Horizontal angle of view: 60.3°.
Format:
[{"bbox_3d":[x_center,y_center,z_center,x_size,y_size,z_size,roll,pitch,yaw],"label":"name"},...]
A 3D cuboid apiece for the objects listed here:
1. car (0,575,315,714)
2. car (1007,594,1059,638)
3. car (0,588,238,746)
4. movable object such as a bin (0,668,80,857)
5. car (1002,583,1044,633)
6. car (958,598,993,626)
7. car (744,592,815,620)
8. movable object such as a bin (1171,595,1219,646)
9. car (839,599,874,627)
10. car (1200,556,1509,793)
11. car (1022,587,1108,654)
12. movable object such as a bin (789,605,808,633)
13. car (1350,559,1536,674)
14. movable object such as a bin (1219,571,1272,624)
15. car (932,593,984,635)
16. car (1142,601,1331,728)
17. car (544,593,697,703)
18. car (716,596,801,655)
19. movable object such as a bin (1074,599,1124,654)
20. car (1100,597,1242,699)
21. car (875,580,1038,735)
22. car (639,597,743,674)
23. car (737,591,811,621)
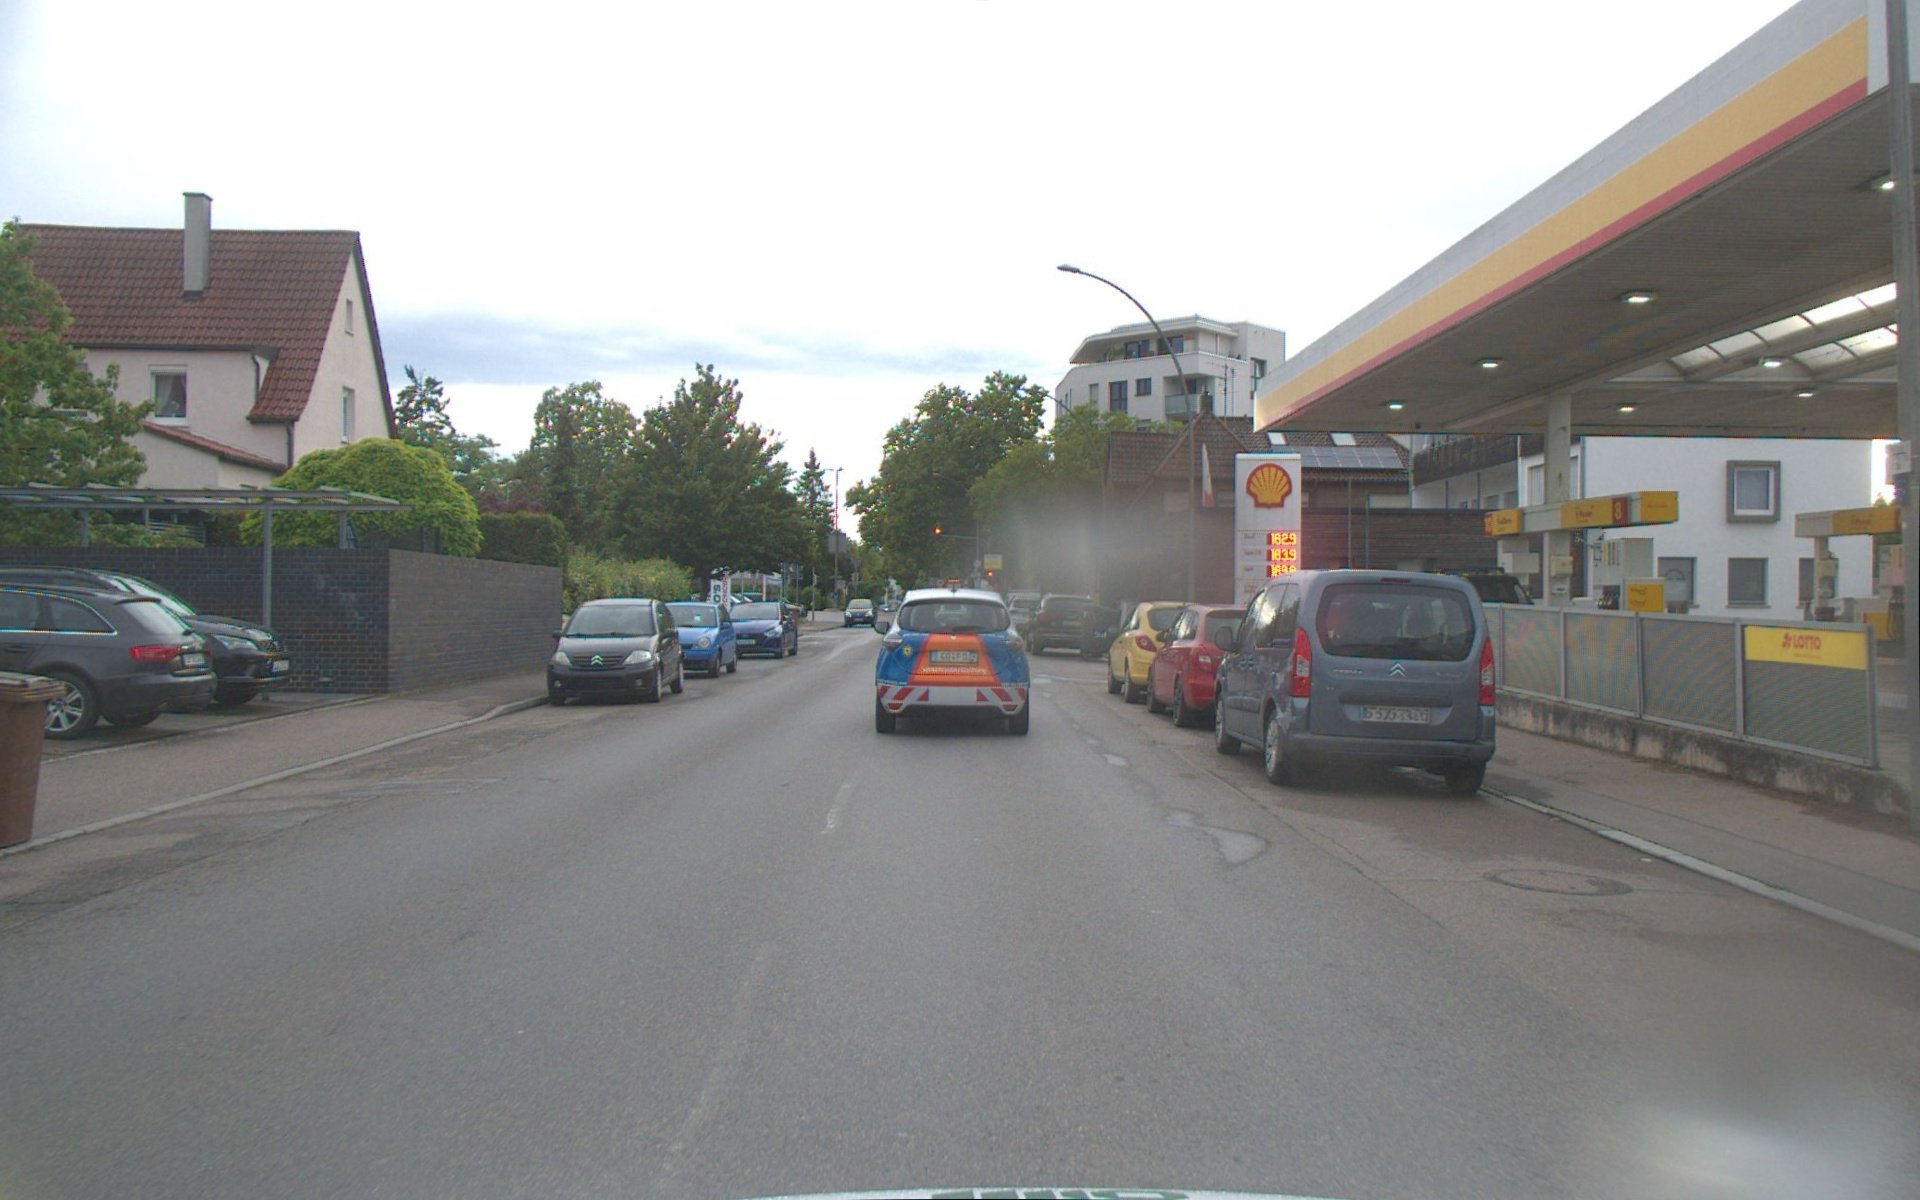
[{"bbox_3d":[-9.746,0.503,19.599,3.516,1.482,1.755,2,0,-6],"label":"car"},{"bbox_3d":[2.968,0.634,67.929,1.828,1.694,4.319,1,0,-1],"label":"car"},{"bbox_3d":[-9.567,0.615,16.435,4.003,1.438,1.713,1,0,-4],"label":"car"},{"bbox_3d":[-6.140,1.018,10.583,0.584,1.075,0.687,5,2,-1],"label":"movable object such as a bin"},{"bbox_3d":[2.806,0.310,74.054,1.741,2.064,4.755,2,1,2],"label":"car"},{"bbox_3d":[0.896,0.684,96.933,1.759,1.453,3.997,2,1,-4],"label":"car"},{"bbox_3d":[-10.532,0.340,96.725,3.904,1.466,1.804,1,0,2],"label":"car"},{"bbox_3d":[6.454,0.559,45.574,1.080,1.363,1.384,0,0,-3],"label":"movable object such as a bin"},{"bbox_3d":[-5.588,0.685,89.965,1.593,1.458,3.684,0,0,1],"label":"car"},{"bbox_3d":[3.396,0.572,15.097,1.622,1.768,4.443,3,0,-1],"label":"car"},{"bbox_3d":[2.906,0.536,46.770,2.048,1.691,4.559,2,1,-1],"label":"car"},{"bbox_3d":[-6.720,0.788,68.877,0.693,1.149,0.735,1,0,0],"label":"movable object such as a bin"},{"bbox_3d":[8.008,0.245,27.792,1.783,1.790,3.997,0,0,-3],"label":"car"},{"bbox_3d":[7.497,-0.076,43.479,1.080,1.363,1.384,0,0,-3],"label":"movable object such as a bin"},{"bbox_3d":[-0.045,0.576,70.145,1.952,1.601,4.002,2,1,3],"label":"car"},{"bbox_3d":[3.355,0.736,20.746,1.622,1.400,4.024,1,0,-1],"label":"car"},{"bbox_3d":[-5.121,0.672,25.346,1.576,1.532,3.707,-1,0,-1],"label":"car"},{"bbox_3d":[-5.286,0.642,43.843,1.770,1.427,3.944,-1,0,-1],"label":"car"},{"bbox_3d":[3.637,0.679,43.410,1.104,1.413,1.503,0,0,-3],"label":"movable object such as a bin"},{"bbox_3d":[3.170,0.681,25.470,1.622,1.426,3.801,1,0,-1],"label":"car"},{"bbox_3d":[-0.057,0.581,19.313,1.710,1.608,4.000,0,1,-1],"label":"car"},{"bbox_3d":[-5.349,0.670,33.256,1.514,1.427,3.597,-1,0,-1],"label":"car"},{"bbox_3d":[-10.543,0.341,94.058,3.904,1.571,1.804,1,0,2],"label":"car"}]
